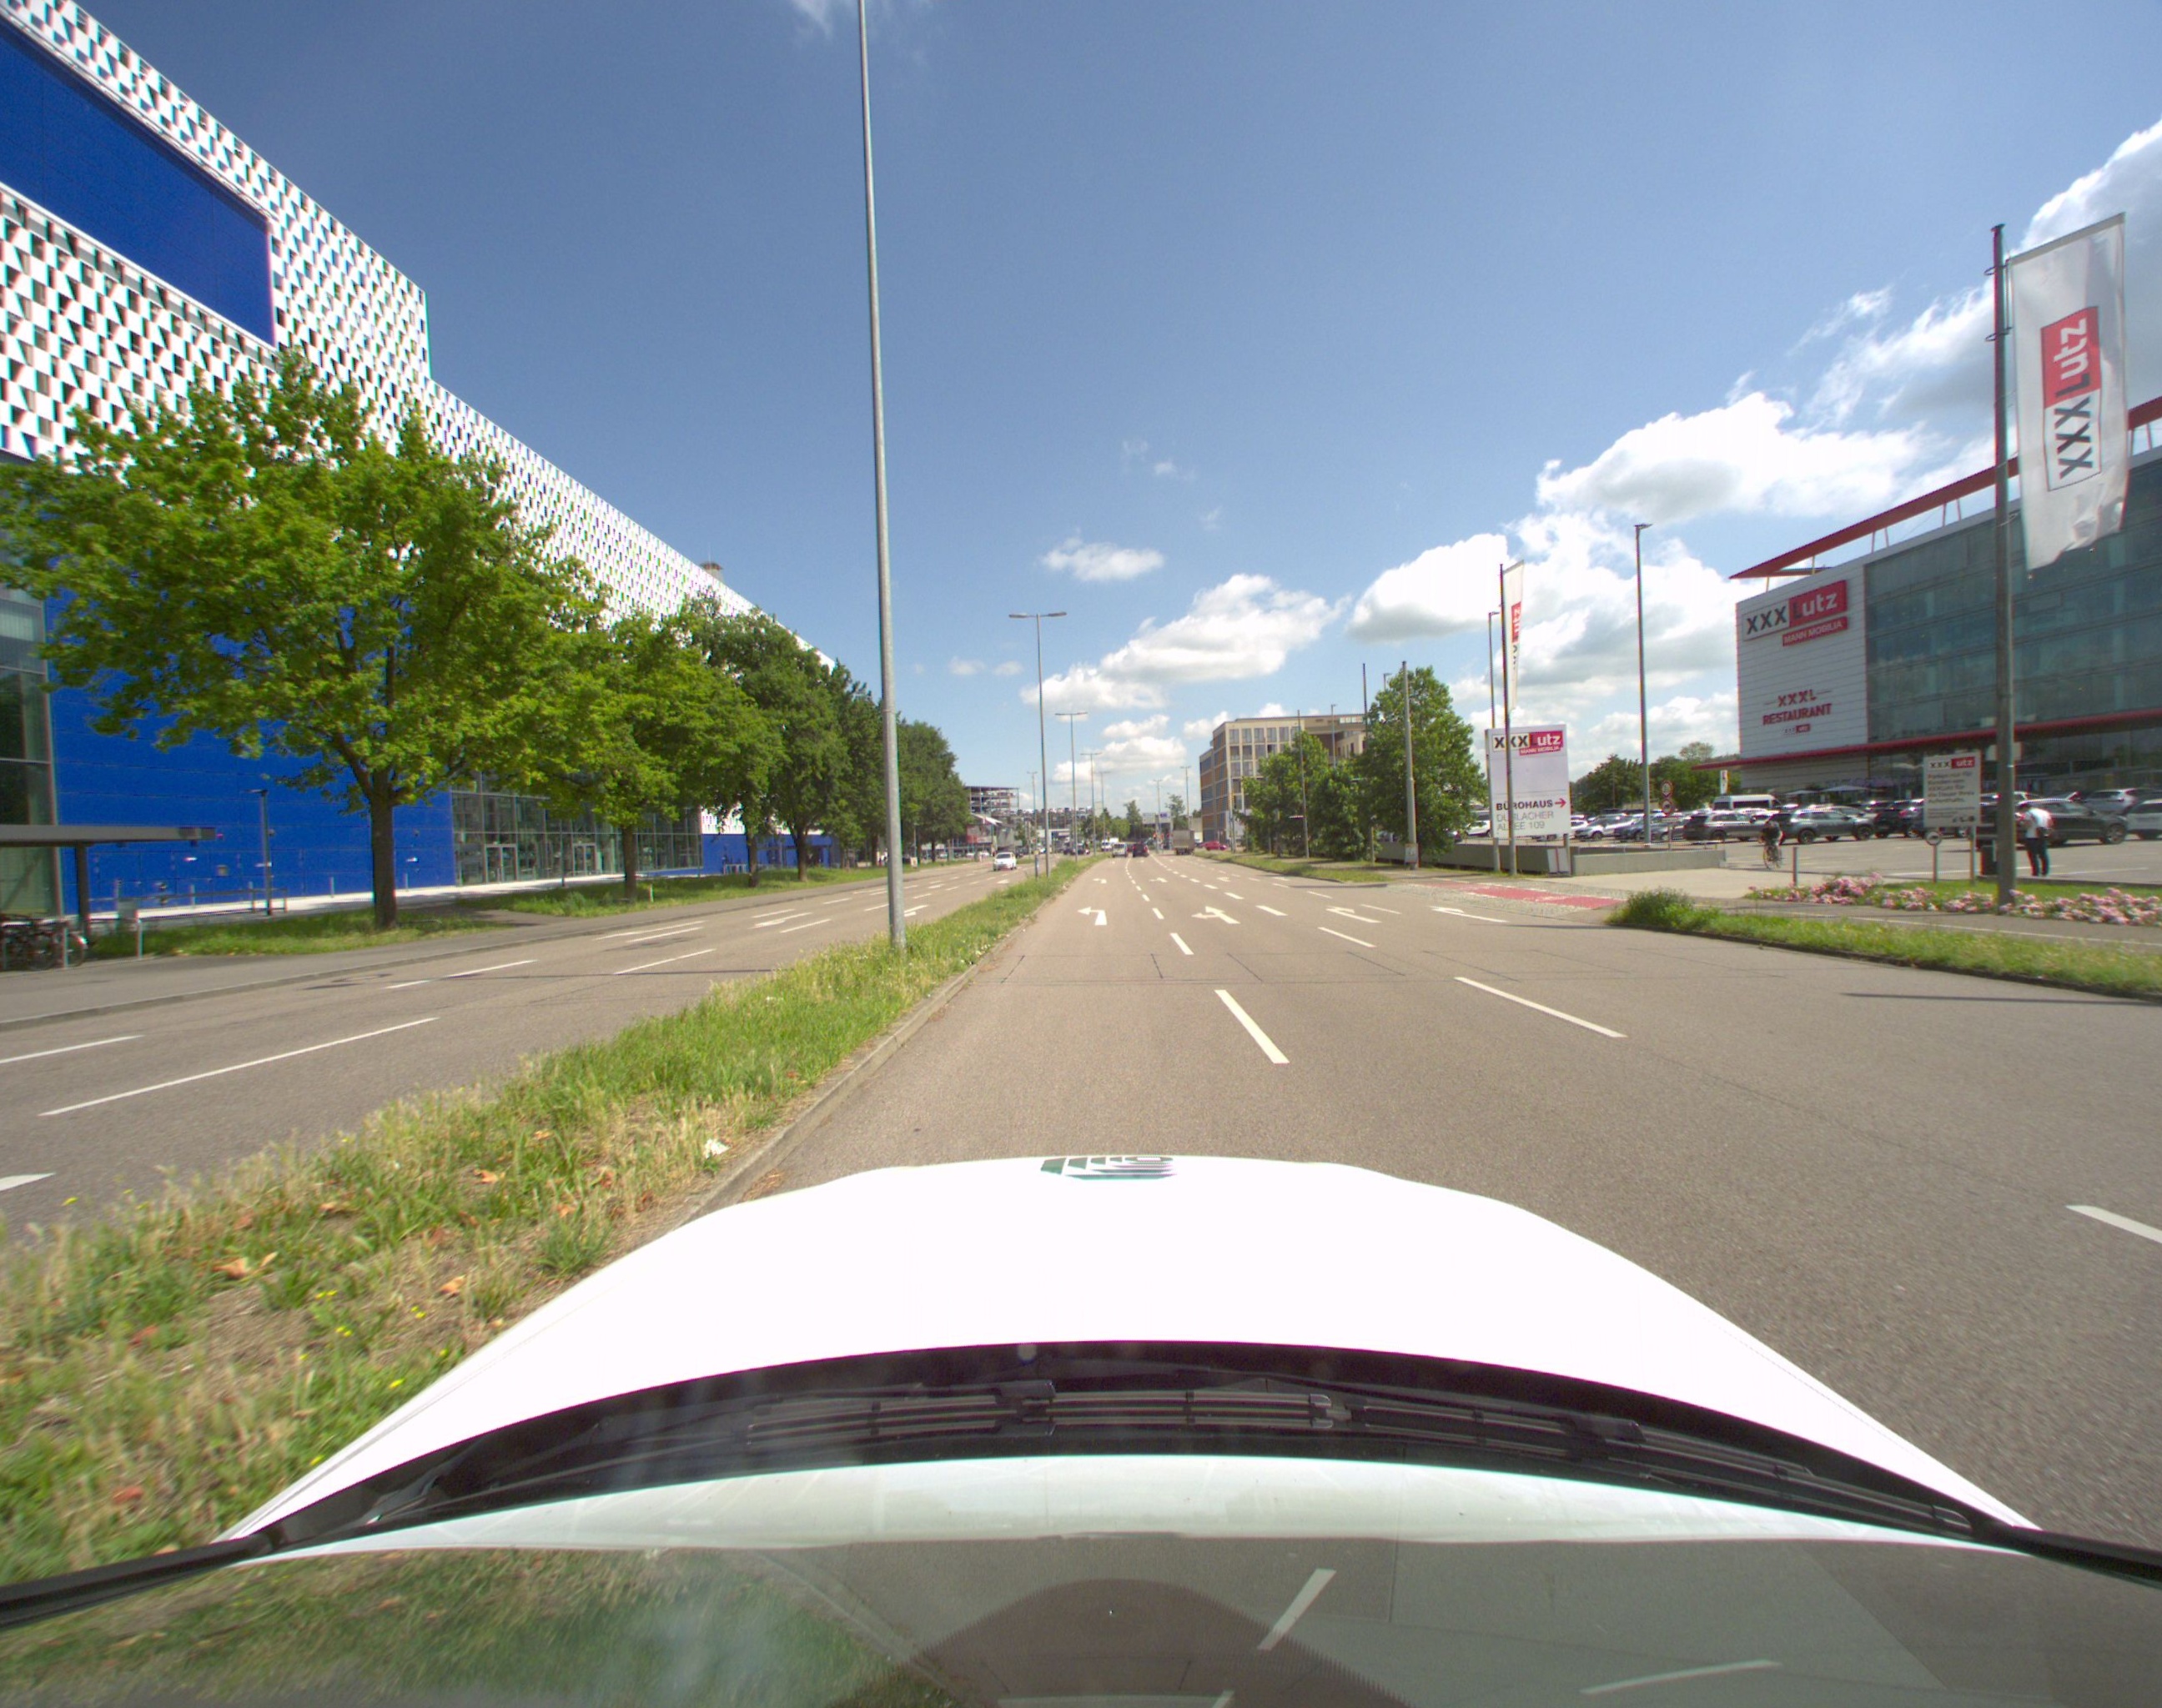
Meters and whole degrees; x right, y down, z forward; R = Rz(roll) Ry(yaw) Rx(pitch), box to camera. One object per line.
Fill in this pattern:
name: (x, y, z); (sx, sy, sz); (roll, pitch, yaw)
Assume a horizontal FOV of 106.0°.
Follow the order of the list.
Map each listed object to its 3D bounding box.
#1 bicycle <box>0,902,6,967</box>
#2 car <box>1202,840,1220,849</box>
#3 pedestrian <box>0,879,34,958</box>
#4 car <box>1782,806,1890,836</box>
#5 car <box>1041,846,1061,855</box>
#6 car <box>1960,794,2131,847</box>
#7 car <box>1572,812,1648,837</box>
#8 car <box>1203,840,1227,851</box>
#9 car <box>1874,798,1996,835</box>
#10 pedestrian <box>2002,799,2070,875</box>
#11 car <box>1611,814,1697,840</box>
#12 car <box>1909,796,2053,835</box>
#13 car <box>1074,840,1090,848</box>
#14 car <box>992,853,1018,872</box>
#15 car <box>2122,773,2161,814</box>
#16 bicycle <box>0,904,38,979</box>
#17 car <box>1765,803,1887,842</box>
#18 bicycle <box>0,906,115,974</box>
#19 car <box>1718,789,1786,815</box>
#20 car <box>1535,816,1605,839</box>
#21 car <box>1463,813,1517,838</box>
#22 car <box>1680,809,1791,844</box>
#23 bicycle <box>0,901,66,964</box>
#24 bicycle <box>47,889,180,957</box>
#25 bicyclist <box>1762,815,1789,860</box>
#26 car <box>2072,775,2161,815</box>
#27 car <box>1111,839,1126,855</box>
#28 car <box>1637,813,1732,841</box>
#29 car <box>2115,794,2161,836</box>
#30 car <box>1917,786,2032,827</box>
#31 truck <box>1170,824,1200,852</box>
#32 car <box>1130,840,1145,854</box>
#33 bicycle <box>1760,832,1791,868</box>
bicycle: (-22.011, 1.608, 15.611); (1.918, 1.272, 0.630); (-2, 1, 1)
car: (24.695, -1.741, 154.514); (3.261, 1.405, 1.335); (-2, 10, 1)
pedestrian: (-24.342, 1.447, 18.090); (0.946, 1.702, 0.887); (-2, 0, 2)
car: (40.468, -1.755, 43.711); (4.225, 1.464, 1.761); (-2, 1, 0)
car: (-6.301, -0.756, 170.690); (3.849, 1.639, 1.858); (-4, 1, 0)
car: (34.041, -1.162, 28.810); (4.043, 1.531, 1.741); (-4, 1, -2)
car: (36.656, -2.013, 56.548); (3.975, 1.571, 2.000); (-2, 0, -1)
car: (22.968, -1.505, 139.869); (3.961, 1.661, 2.006); (-2, 1, 10)
car: (40.646, -1.776, 38.806); (3.973, 1.464, 1.728); (-4, 1, 0)
pedestrian: (23.055, -0.408, 19.684); (0.861, 1.782, 0.789); (-1, 1, 32)
car: (36.222, -1.712, 51.525); (4.168, 1.325, 1.689); (-4, 1, 1)
car: (40.271, -1.697, 36.517); (4.344, 1.499, 1.891); (-2, 0, 0)
car: (0.282, -2.557, 201.772); (3.977, 1.925, 1.825); (-2, 0, -3)
car: (-6.352, 0.720, 68.174); (1.637, 1.428, 3.671); (-4, 0, 1)
car: (55.919, -3.114, 41.191); (3.972, 2.013, 2.001); (-2, 1, 1)
bicycle: (-19.867, 1.581, 14.430); (1.918, 1.272, 0.630); (-2, 1, 1)
car: (35.606, -1.488, 38.986); (4.168, 1.552, 1.765); (-4, 1, 0)
bicycle: (-19.835, 1.638, 15.585); (1.918, 1.183, 0.630); (-2, 1, 1)
car: (55.494, -4.310, 67.403); (3.972, 1.951, 2.001); (-2, 1, 2)
car: (36.868, -1.999, 61.483); (4.172, 1.389, 1.892); (-4, 1, -2)
car: (38.423, -2.685, 76.569); (3.971, 2.013, 2.001); (-4, 1, 2)
car: (35.251, -1.461, 43.931); (4.344, 1.574, 2.030); (-4, 1, 0)
bicycle: (-22.085, 1.612, 16.622); (1.918, 1.183, 0.630); (-2, 1, 1)
bicycle: (-19.799, 1.401, 16.681); (1.918, 1.272, 0.630); (-2, 1, 1)
bicyclist: (22.695, -0.545, 26.609); (0.609, 1.412, 0.719); (-2, 1, 44)
car: (56.405, -3.175, 43.699); (3.972, 2.013, 2.001); (-2, 1, 1)
car: (4.956, -0.967, 108.571); (1.848, 2.018, 4.003); (-1, 1, 2)
car: (36.055, -1.606, 48.694); (4.344, 1.325, 1.765); (-4, 1, 0)
car: (39.852, -1.463, 28.789); (4.273, 1.427, 1.760); (-3, 3, 2)
car: (47.851, -2.535, 43.682); (3.971, 2.013, 2.001); (-2, 1, 2)
truck: (15.530, -2.482, 120.615); (3.106, 3.940, 8.895); (-2, 1, 15)
car: (7.417, -0.969, 106.719); (1.810, 1.808, 4.008); (-1, 1, 7)
bicycle: (22.668, -0.150, 26.570); (0.617, 1.067, 1.980); (-2, 1, 44)
